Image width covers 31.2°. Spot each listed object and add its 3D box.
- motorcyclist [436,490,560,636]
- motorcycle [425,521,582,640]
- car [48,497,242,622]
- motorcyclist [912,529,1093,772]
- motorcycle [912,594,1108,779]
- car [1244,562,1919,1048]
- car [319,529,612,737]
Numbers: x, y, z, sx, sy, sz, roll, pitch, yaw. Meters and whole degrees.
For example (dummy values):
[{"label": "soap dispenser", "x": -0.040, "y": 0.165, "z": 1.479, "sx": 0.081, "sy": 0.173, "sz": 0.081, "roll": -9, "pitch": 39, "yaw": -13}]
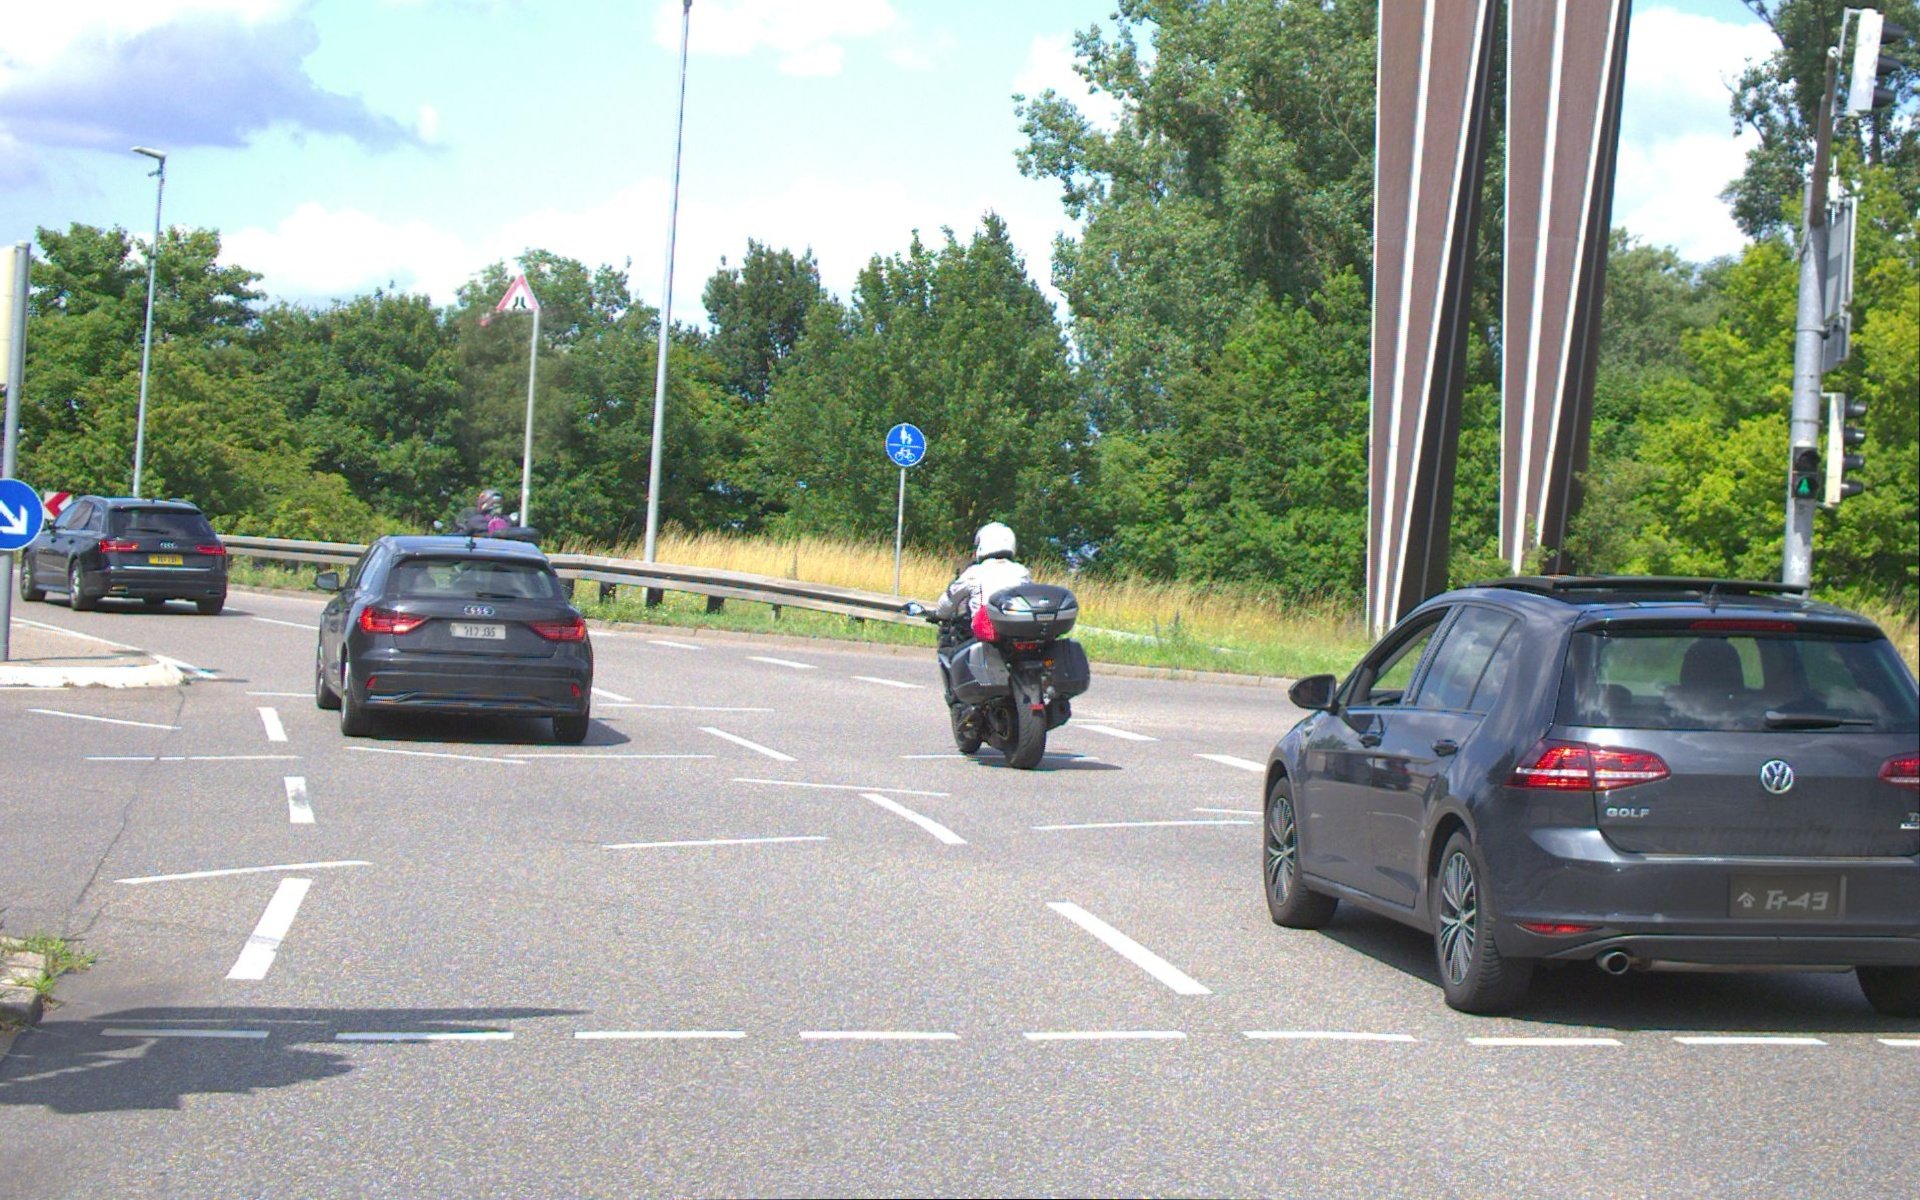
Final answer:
[{"label": "motorcyclist", "x": -5.250, "y": -0.429, "z": 39.041, "sx": 0.966, "sy": 1.590, "sz": 1.125, "roll": 3, "pitch": 0, "yaw": -30}, {"label": "motorcycle", "x": -5.190, "y": -0.235, "z": 38.928, "sx": 0.887, "sy": 1.243, "sz": 2.400, "roll": 2, "pitch": 1, "yaw": -29}, {"label": "car", "x": -10.483, "y": -0.545, "z": 44.033, "sx": 1.642, "sy": 1.474, "sz": 3.873, "roll": 2, "pitch": 1, "yaw": -25}, {"label": "motorcyclist", "x": 0.282, "y": 0.338, "z": 24.014, "sx": 0.965, "sy": 1.615, "sz": 1.125, "roll": 3, "pitch": 0, "yaw": -12}, {"label": "motorcycle", "x": 0.316, "y": 0.571, "z": 23.792, "sx": 0.789, "sy": 1.128, "sz": 2.400, "roll": 3, "pitch": 1, "yaw": -12}, {"label": "car", "x": 2.285, "y": 0.637, "z": 12.776, "sx": 1.642, "sy": 1.474, "sz": 3.873, "roll": 2, "pitch": 1, "yaw": -7}, {"label": "car", "x": -3.695, "y": 0.206, "z": 25.207, "sx": 1.681, "sy": 1.383, "sz": 3.740, "roll": 1, "pitch": 0, "yaw": -15}]
